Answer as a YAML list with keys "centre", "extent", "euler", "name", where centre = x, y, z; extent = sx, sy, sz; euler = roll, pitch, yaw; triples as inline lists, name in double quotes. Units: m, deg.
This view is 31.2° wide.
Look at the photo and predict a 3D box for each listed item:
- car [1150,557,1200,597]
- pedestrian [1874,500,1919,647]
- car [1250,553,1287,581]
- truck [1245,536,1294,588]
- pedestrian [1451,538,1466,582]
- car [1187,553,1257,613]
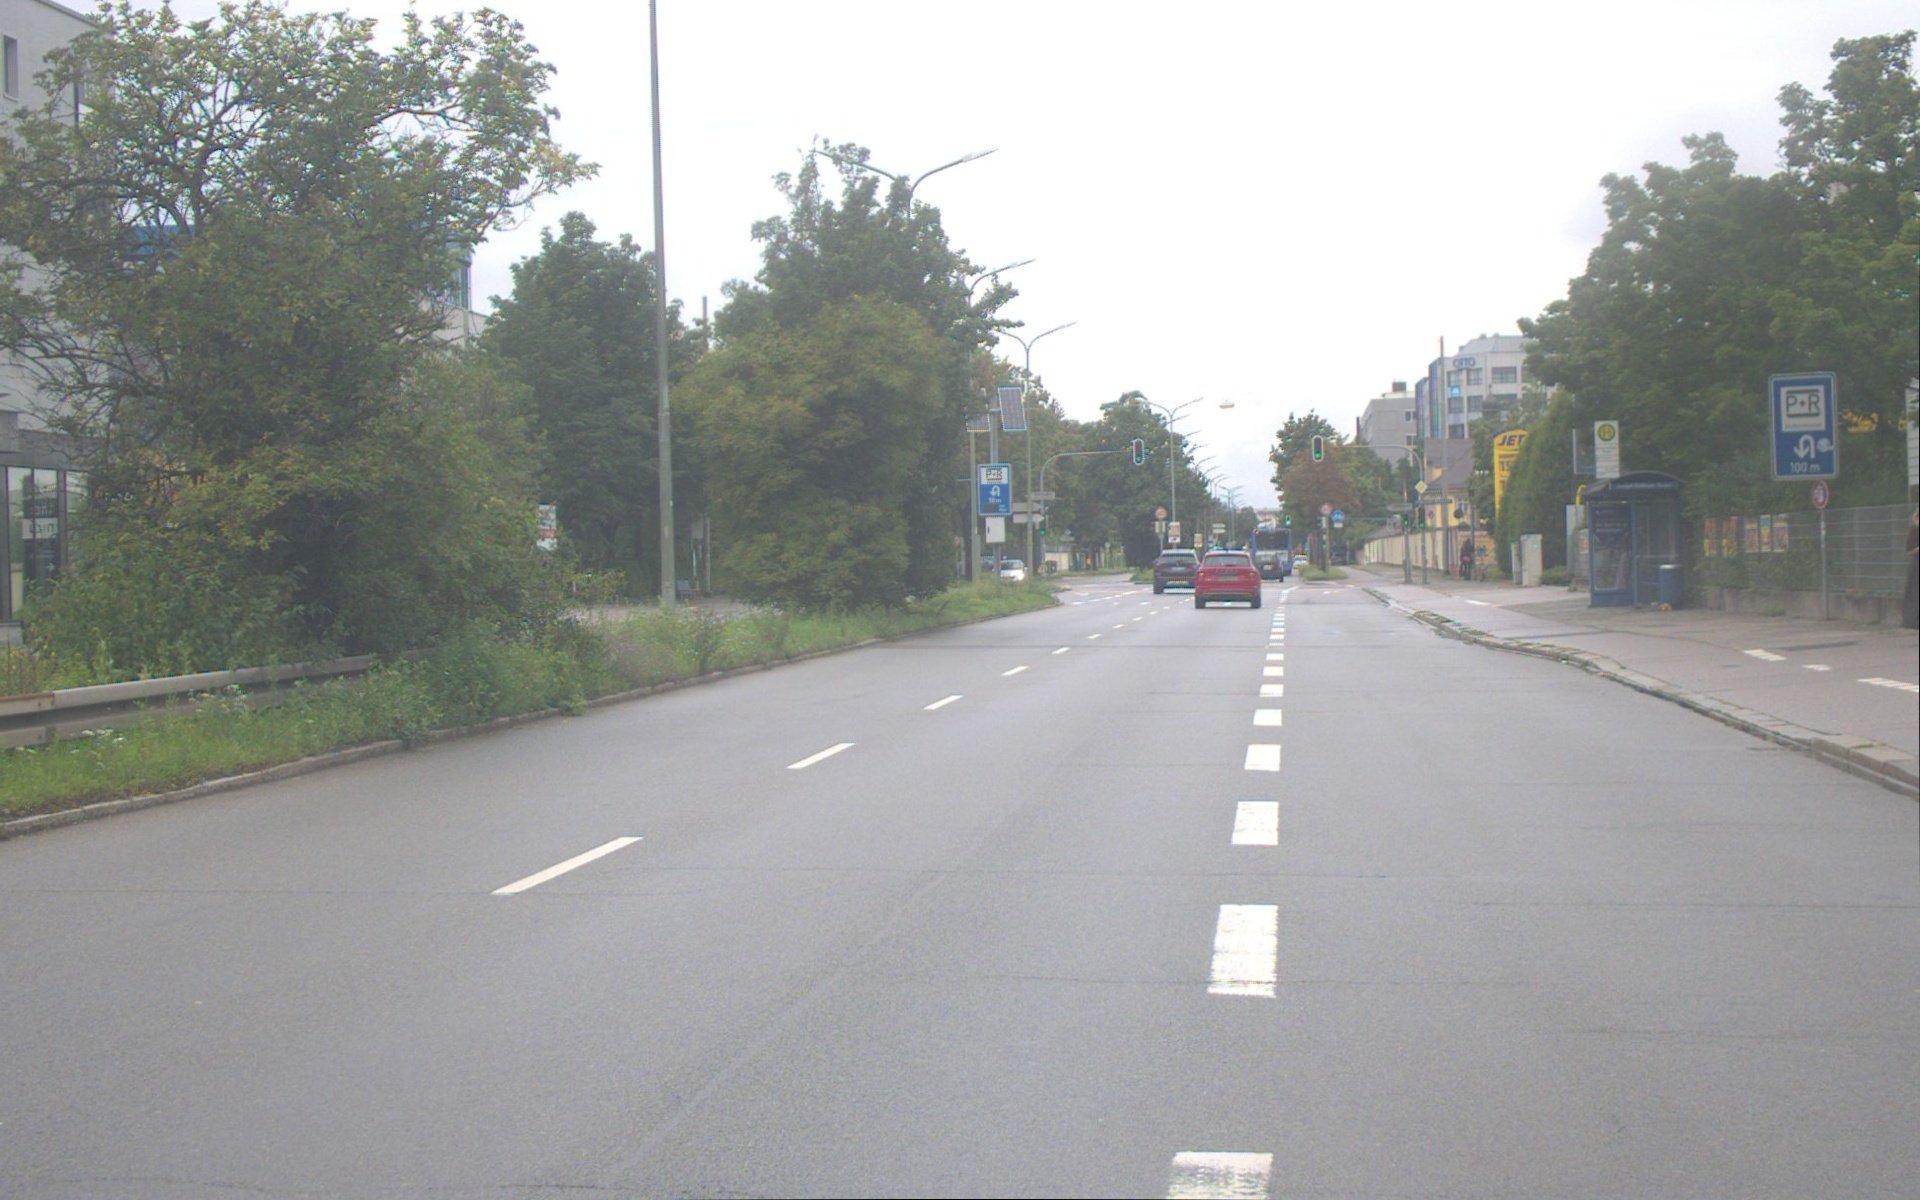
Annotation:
- centre: [8.132, -0.886, 129.839]
  extent: [1.803, 1.428, 4.000]
  euler: [-2, 1, 4]
  name: "car"
- centre: [11.513, -0.334, 41.228]
  extent: [0.758, 1.722, 0.895]
  euler: [-5, 0, 3]
  name: "pedestrian"
- centre: [16.123, -1.738, 179.842]
  extent: [1.803, 1.428, 4.000]
  euler: [-1, 0, 4]
  name: "car"
- centre: [20.221, -2.490, 224.900]
  extent: [2.969, 3.274, 7.914]
  euler: [-1, 1, 4]
  name: "truck"
- centre: [18.780, -1.520, 129.576]
  extent: [0.483, 1.630, 0.590]
  euler: [-1, 1, 6]
  name: "pedestrian"
- centre: [7.305, -0.473, 96.143]
  extent: [1.862, 1.612, 4.000]
  euler: [-1, 0, 3]
  name: "car"
